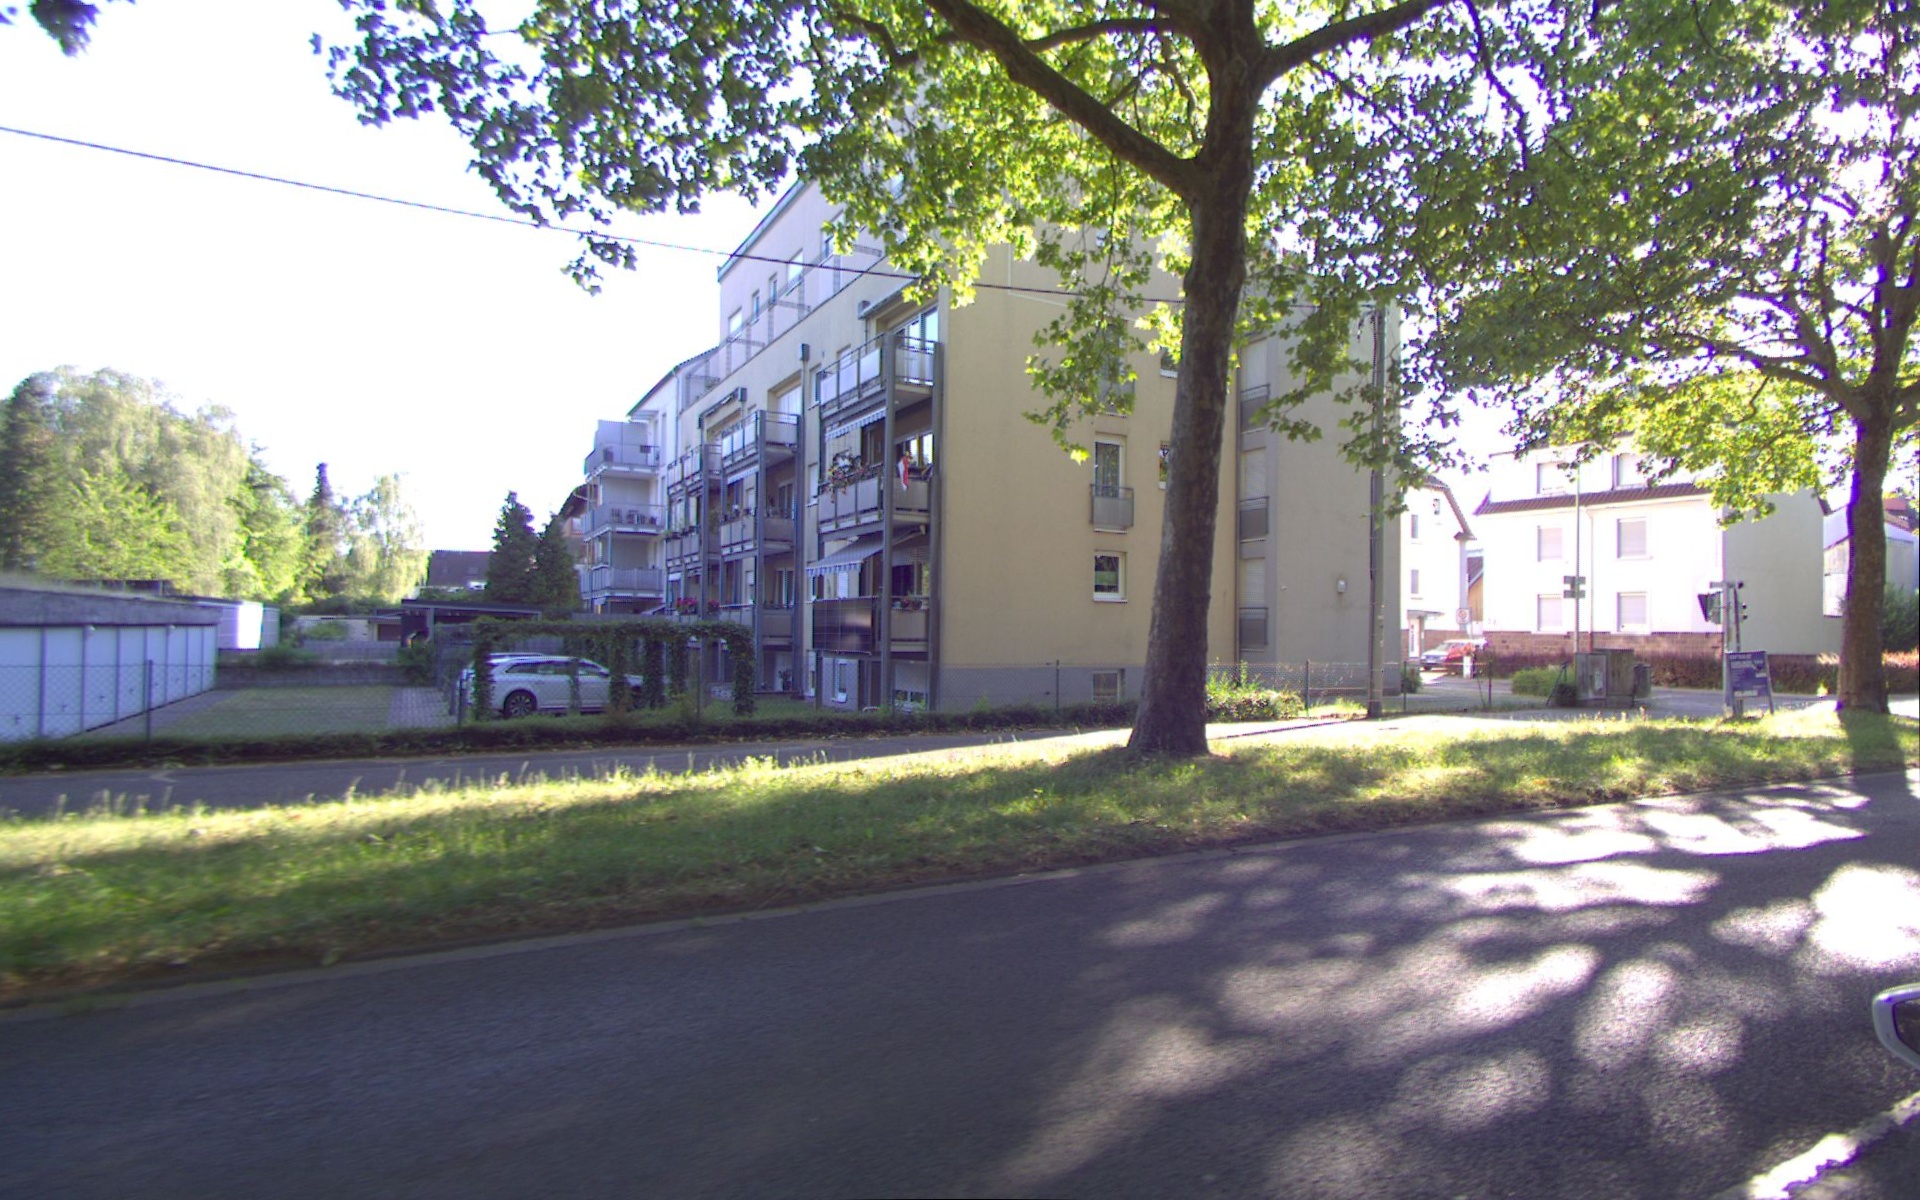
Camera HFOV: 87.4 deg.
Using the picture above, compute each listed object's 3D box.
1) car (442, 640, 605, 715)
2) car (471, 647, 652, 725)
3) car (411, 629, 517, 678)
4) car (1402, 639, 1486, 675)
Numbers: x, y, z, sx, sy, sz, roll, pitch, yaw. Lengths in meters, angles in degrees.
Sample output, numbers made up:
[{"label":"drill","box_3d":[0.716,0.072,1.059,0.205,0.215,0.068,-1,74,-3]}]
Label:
[{"label":"car","box_3d":[-12.126,2.086,27.963,3.954,1.871,1.840,1,0,-31]},{"label":"car","box_3d":[-10.161,2.125,25.672,3.959,1.736,1.981,1,0,-34]},{"label":"car","box_3d":[-21.382,2.291,43.305,3.954,2.040,1.984,2,-2,-31]},{"label":"car","box_3d":[23.981,2.820,49.799,3.782,1.673,1.848,2,-1,-28]}]
